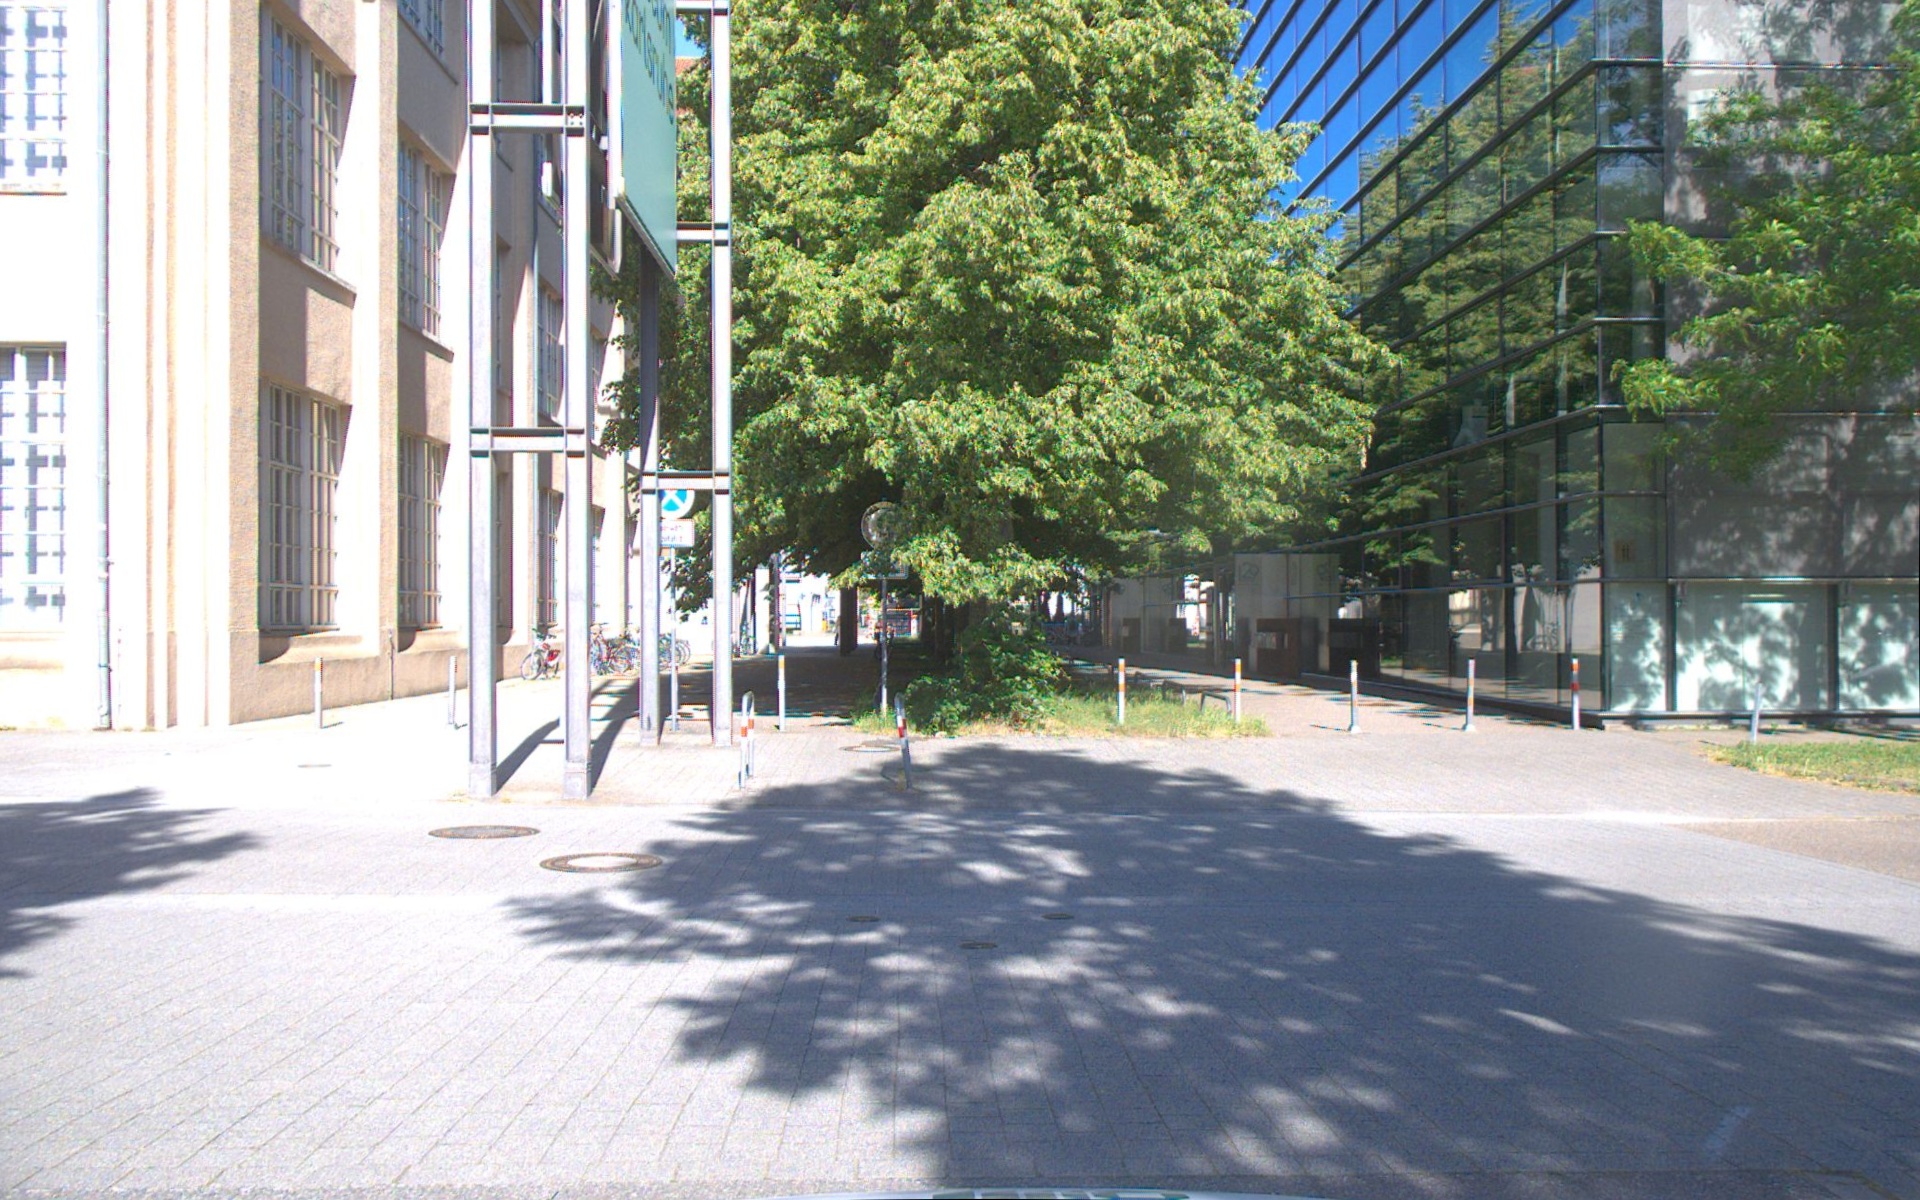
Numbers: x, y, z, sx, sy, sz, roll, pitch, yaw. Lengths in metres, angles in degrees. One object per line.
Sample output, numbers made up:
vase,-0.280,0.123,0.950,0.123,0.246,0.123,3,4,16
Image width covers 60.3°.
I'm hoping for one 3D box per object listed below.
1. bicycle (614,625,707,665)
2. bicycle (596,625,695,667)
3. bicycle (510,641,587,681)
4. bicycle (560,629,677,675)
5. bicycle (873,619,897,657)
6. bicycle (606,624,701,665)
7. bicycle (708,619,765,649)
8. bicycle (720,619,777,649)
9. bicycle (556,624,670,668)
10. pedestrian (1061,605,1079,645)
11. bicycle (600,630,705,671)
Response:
bicycle,-8.952,1.344,49.513,2.679,1.171,0.718,0,0,-7
bicycle,-8.999,1.301,47.408,2.747,1.171,0.718,0,0,-7
bicycle,-9.296,1.369,37.525,0.761,0.806,2.886,0,0,6
bicycle,-8.324,1.258,40.443,2.747,1.081,0.718,0,0,-7
bicycle,-2.478,1.237,54.508,0.607,1.218,2.128,0,0,-7
bicycle,-9.010,1.296,48.721,2.679,1.171,0.718,0,0,-7
bicycle,-8.125,1.247,60.175,2.015,1.085,0.506,0,0,0
bicycle,-7.784,1.236,60.827,2.015,1.085,0.506,0,0,0
bicycle,-8.810,1.169,42.030,2.744,1.081,0.718,0,0,-2
pedestrian,4.458,1.013,67.128,0.701,1.577,0.690,0,0,4
bicycle,-8.357,1.362,44.997,2.747,1.081,0.718,0,0,-7
